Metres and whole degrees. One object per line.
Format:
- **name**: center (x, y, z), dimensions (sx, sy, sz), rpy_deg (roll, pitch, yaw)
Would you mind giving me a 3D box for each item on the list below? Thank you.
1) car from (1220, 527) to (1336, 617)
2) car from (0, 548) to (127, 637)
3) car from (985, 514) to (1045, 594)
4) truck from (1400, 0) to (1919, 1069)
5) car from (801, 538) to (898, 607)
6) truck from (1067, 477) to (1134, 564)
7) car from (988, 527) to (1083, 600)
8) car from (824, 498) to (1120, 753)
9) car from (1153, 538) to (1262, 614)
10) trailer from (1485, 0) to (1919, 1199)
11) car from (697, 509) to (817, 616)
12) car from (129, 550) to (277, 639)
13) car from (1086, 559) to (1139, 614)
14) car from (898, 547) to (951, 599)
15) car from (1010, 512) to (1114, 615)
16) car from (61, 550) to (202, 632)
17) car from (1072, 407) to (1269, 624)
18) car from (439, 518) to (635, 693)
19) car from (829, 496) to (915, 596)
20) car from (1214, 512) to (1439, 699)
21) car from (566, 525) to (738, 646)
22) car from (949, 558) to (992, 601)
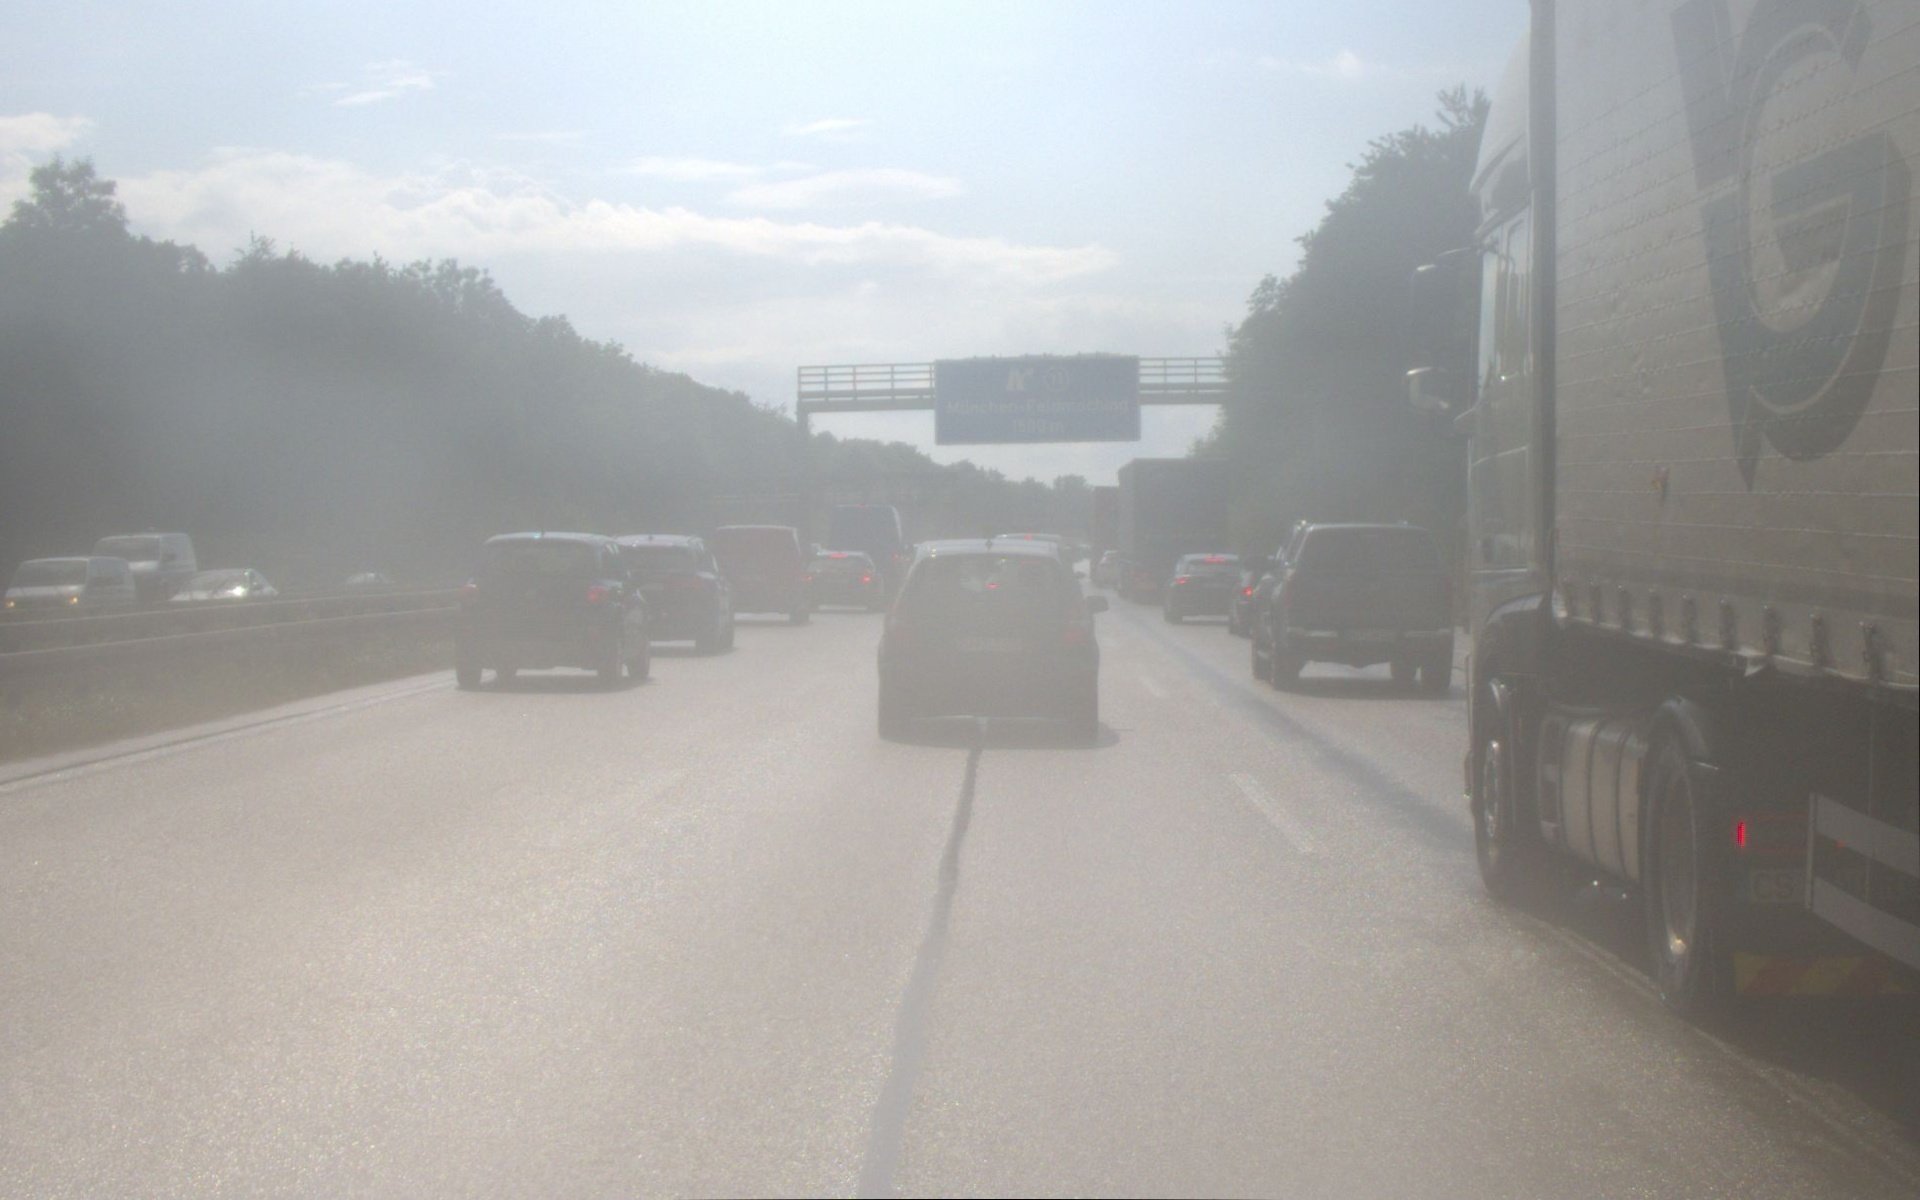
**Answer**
- **car**: center (5.516, -0.489, 60.016), dimensions (1.590, 1.511, 3.976), rpy_deg (1, 0, -1)
- **car**: center (-20.123, -0.186, 76.055), dimensions (2.046, 1.885, 5.259), rpy_deg (1, 0, 1)
- **car**: center (1.944, -1.600, 120.345), dimensions (1.993, 2.737, 5.259), rpy_deg (1, 0, 2)
- **truck**: center (3.749, -0.622, 13.066), dimensions (3.284, 3.877, 6.396), rpy_deg (1, 1, 0)
- **car**: center (-2.575, -0.648, 81.331), dimensions (1.993, 1.559, 4.756), rpy_deg (1, 0, 2)
- **truck**: center (6.004, -3.391, 147.549), dimensions (2.775, 3.619, 5.916), rpy_deg (1, 0, 2)
- **car**: center (1.603, -0.784, 74.222), dimensions (1.864, 1.511, 3.976), rpy_deg (1, 0, -1)
- **car**: center (0.082, 0.177, 29.049), dimensions (2.274, 1.948, 4.821), rpy_deg (1, 0, 0)
- **car**: center (5.038, -0.495, 70.544), dimensions (1.864, 1.511, 3.976), rpy_deg (1, 0, -1)
- **trailer**: center (3.686, -0.528, 6.526), dimensions (3.284, 3.885, 14.129), rpy_deg (1, 1, 1)
- **car**: center (-4.026, -0.747, 68.852), dimensions (1.979, 2.047, 4.756), rpy_deg (1, 0, 2)
- **car**: center (-16.624, -0.139, 75.740), dimensions (2.046, 1.885, 5.259), rpy_deg (1, 0, 1)
- **car**: center (5.931, -0.540, 134.092), dimensions (1.993, 2.108, 4.888), rpy_deg (1, 0, 2)
- **car**: center (-1.478, -1.136, 143.522), dimensions (1.993, 2.108, 4.888), rpy_deg (1, 0, 2)
- **car**: center (1.823, -0.657, 62.231), dimensions (1.692, 1.798, 3.976), rpy_deg (1, 0, -1)
- **car**: center (-19.810, -0.233, 82.445), dimensions (2.046, 1.885, 5.259), rpy_deg (1, 0, 1)
- **car**: center (5.945, -2.350, 101.167), dimensions (4.403, 5.810, 16.819), rpy_deg (1, 0, -1)
- **car**: center (-4.597, 0.039, 37.804), dimensions (1.692, 1.798, 3.976), rpy_deg (1, 0, -1)
- **car**: center (-2.354, -1.436, 93.251), dimensions (1.993, 2.606, 5.259), rpy_deg (1, 0, 2)
- **car**: center (4.004, 0.033, 38.441), dimensions (1.942, 1.912, 5.652), rpy_deg (1, 0, 1)
- **car**: center (-4.393, -0.212, 49.605), dimensions (1.909, 1.631, 4.616), rpy_deg (-1, 0, 2)
- **car**: center (0.516, -1.039, 171.756), dimensions (1.993, 2.108, 4.888), rpy_deg (1, 0, 2)
